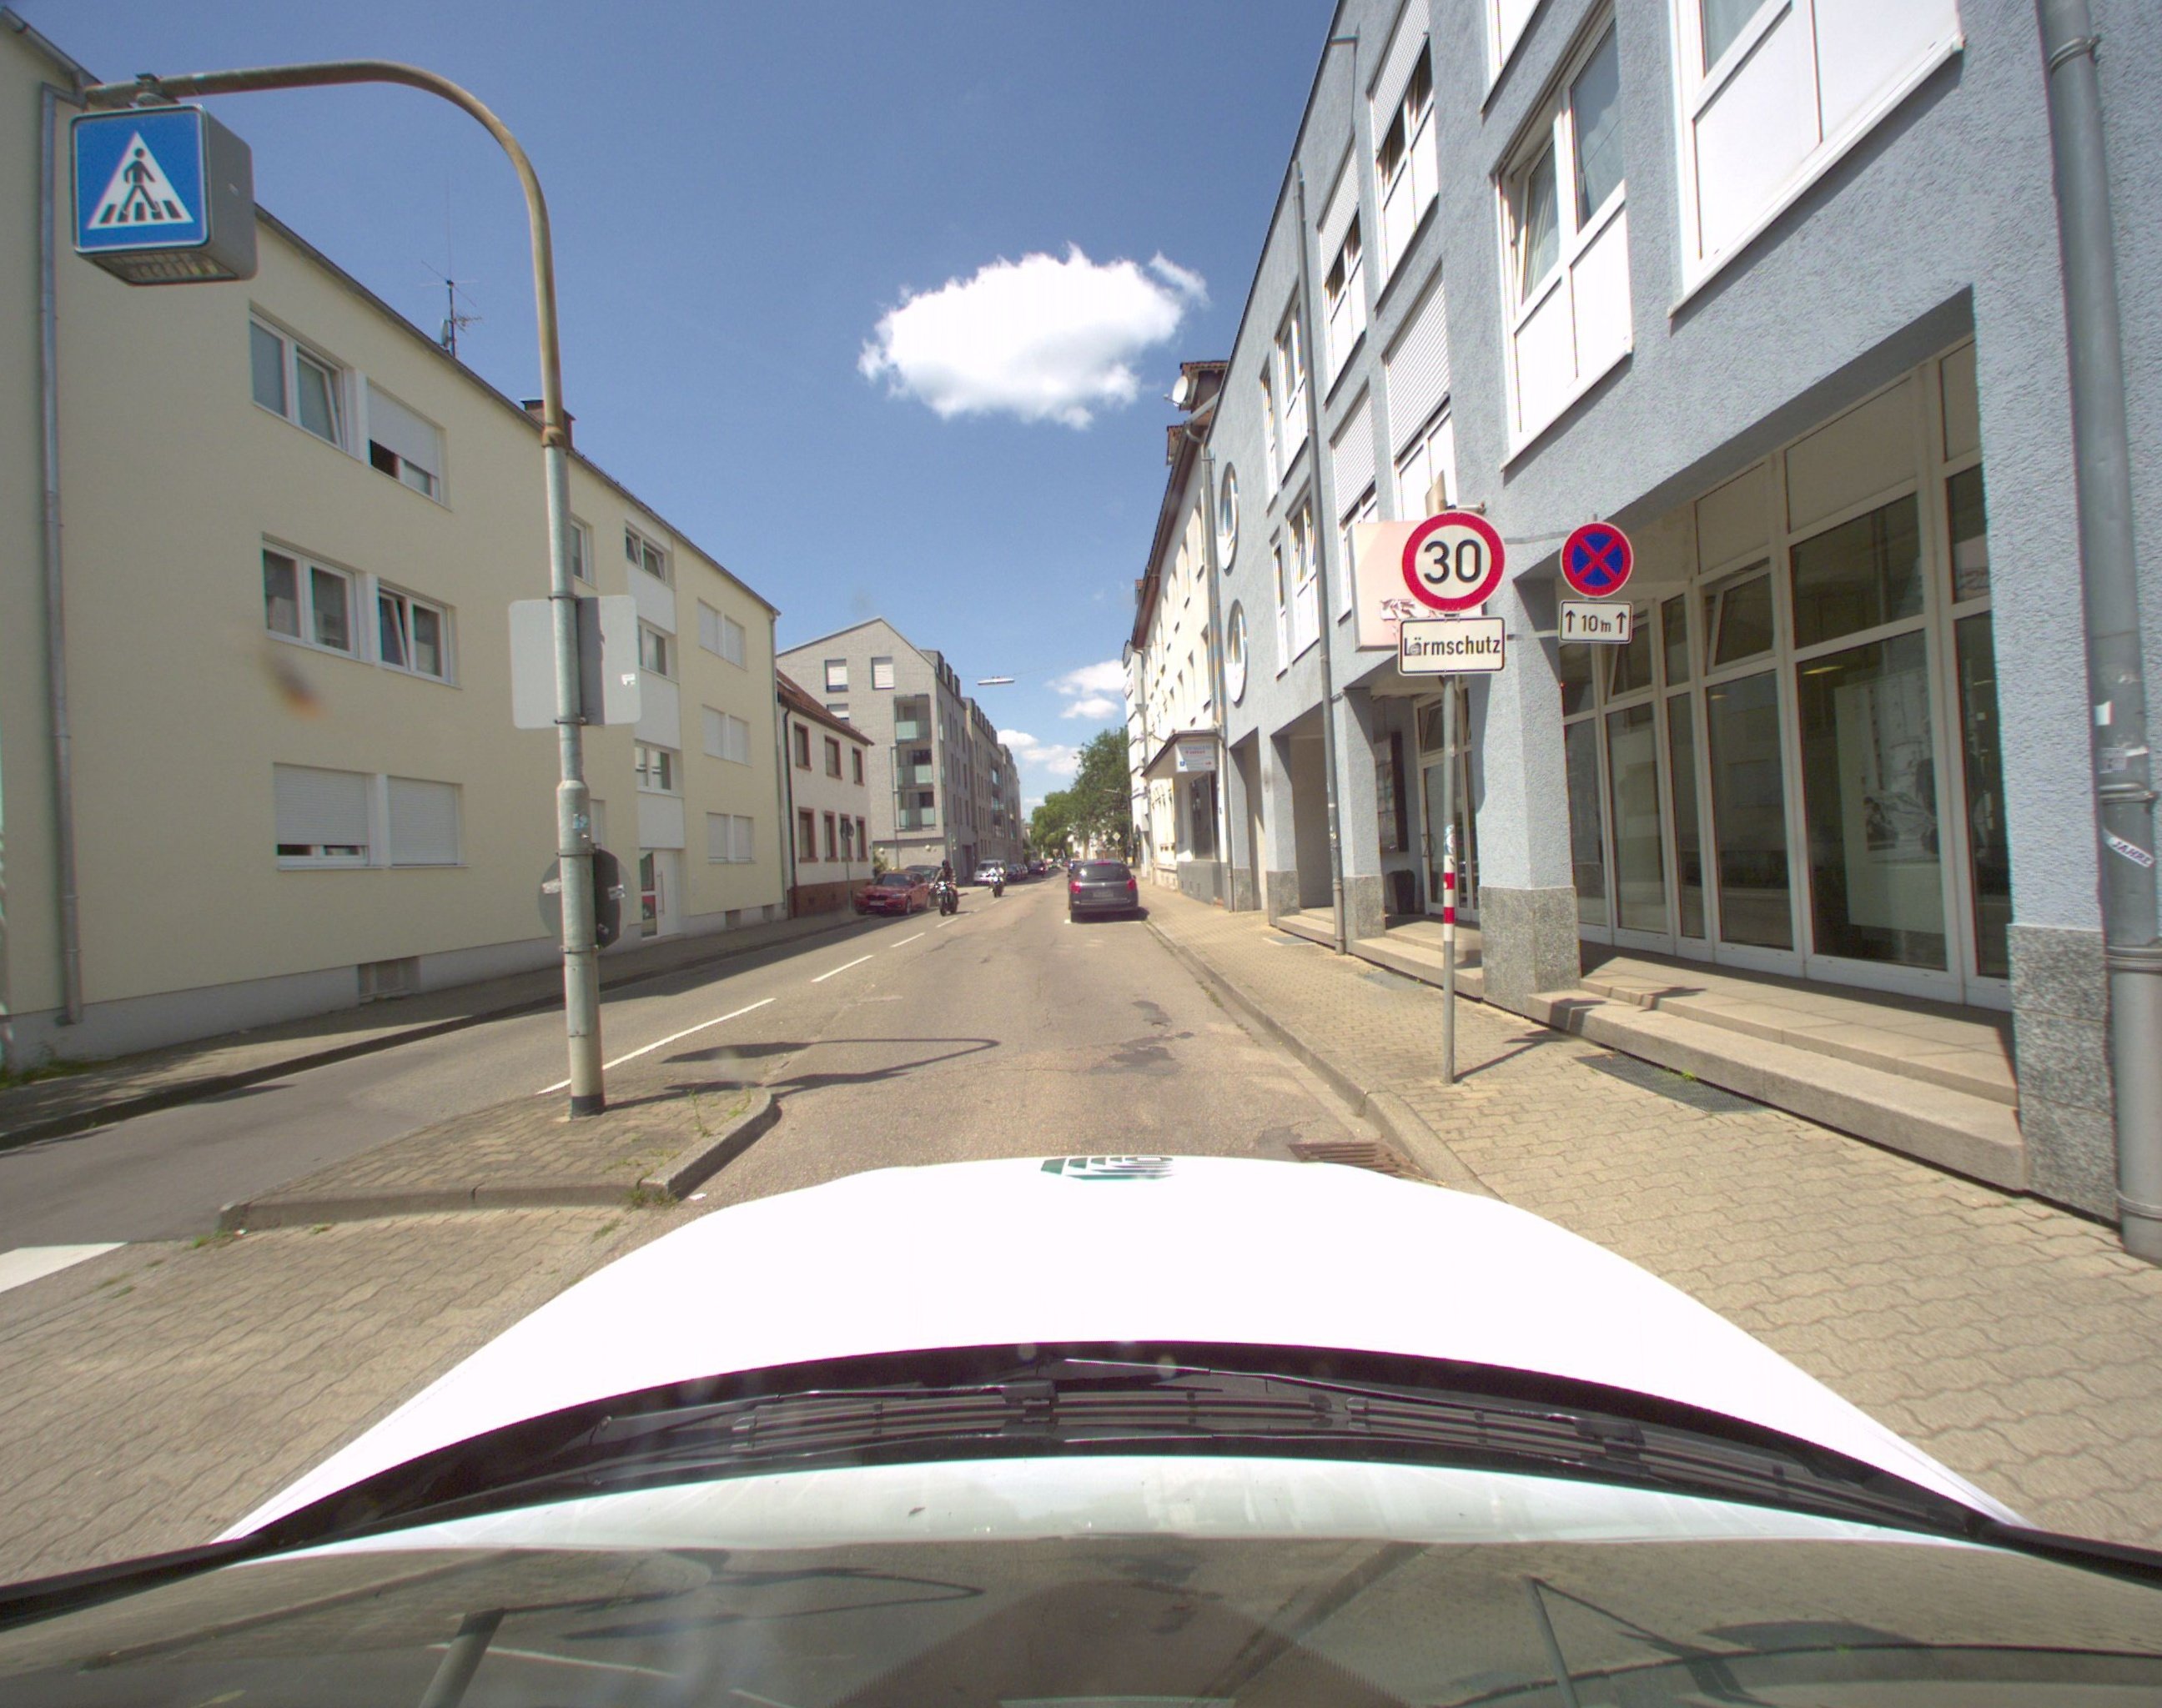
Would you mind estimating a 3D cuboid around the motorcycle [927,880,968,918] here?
[{"bbox_3d":[-4.187,1.384,25.663,0.710,1.028,2.242,-4,0,4],"label":"motorcycle"}]

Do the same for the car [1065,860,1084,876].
[{"bbox_3d":[-0.618,1.390,81.893,1.710,1.402,4.000,-3,0,0],"label":"car"}]

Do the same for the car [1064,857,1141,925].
[{"bbox_3d":[0.463,0.886,21.138,1.705,1.508,3.997,-3,-1,-2],"label":"car"}]

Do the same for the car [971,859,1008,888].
[{"bbox_3d":[-6.293,1.306,56.152,1.749,1.892,4.341,-1,0,4],"label":"car"}]

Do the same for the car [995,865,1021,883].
[{"bbox_3d":[-6.120,1.678,68.880,1.717,1.456,4.006,-2,-1,1],"label":"car"}]

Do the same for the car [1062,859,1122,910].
[{"bbox_3d":[0.323,0.928,26.599,1.724,1.420,4.544,-3,-1,0],"label":"car"}]

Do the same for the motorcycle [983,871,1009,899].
[{"bbox_3d":[-3.898,1.404,37.497,0.893,1.176,2.208,-3,-1,0],"label":"motorcycle"}]

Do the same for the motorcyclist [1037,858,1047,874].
[{"bbox_3d":[-3.859,1.175,79.923,0.819,1.509,1.057,-3,-1,1],"label":"motorcyclist"}]

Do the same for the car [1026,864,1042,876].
[{"bbox_3d":[-6.023,2.024,104.083,1.727,1.442,3.999,-3,-1,-1],"label":"car"}]

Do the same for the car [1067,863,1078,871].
[{"bbox_3d":[-1.784,2.727,169.156,1.991,1.618,3.992,-2,-1,-6],"label":"car"}]

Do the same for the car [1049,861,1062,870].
[{"bbox_3d":[-4.288,1.970,138.092,1.986,1.381,4.394,-1,0,2],"label":"car"}]

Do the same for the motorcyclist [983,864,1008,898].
[{"bbox_3d":[-3.918,1.243,37.386,0.913,1.480,1.203,-3,-1,0],"label":"motorcyclist"}]

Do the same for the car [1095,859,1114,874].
[{"bbox_3d":[2.506,1.308,86.949,1.687,1.420,3.998,-6,-1,-1],"label":"car"}]

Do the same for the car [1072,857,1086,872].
[{"bbox_3d":[-0.274,1.457,115.384,1.833,2.013,4.000,-3,0,0],"label":"car"}]

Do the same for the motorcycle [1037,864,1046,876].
[{"bbox_3d":[-3.858,1.583,80.032,0.685,1.122,2.028,-3,0,2],"label":"motorcycle"}]

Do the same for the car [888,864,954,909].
[{"bbox_3d":[-6.482,1.287,33.391,1.788,1.646,3.945,-2,-1,1],"label":"car"}]

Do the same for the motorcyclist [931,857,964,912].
[{"bbox_3d":[-4.198,0.935,25.618,0.710,1.634,1.070,-4,0,4],"label":"motorcyclist"}]

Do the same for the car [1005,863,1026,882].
[{"bbox_3d":[-5.940,1.665,74.125,1.586,1.554,3.569,-3,-1,0],"label":"car"}]

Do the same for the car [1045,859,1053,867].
[{"bbox_3d":[-8.989,2.538,228.219,2.153,2.013,3.993,-3,0,-5],"label":"car"}]

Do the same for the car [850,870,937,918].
[{"bbox_3d":[-6.445,1.326,28.509,1.826,1.417,4.292,-3,-1,2],"label":"car"}]
